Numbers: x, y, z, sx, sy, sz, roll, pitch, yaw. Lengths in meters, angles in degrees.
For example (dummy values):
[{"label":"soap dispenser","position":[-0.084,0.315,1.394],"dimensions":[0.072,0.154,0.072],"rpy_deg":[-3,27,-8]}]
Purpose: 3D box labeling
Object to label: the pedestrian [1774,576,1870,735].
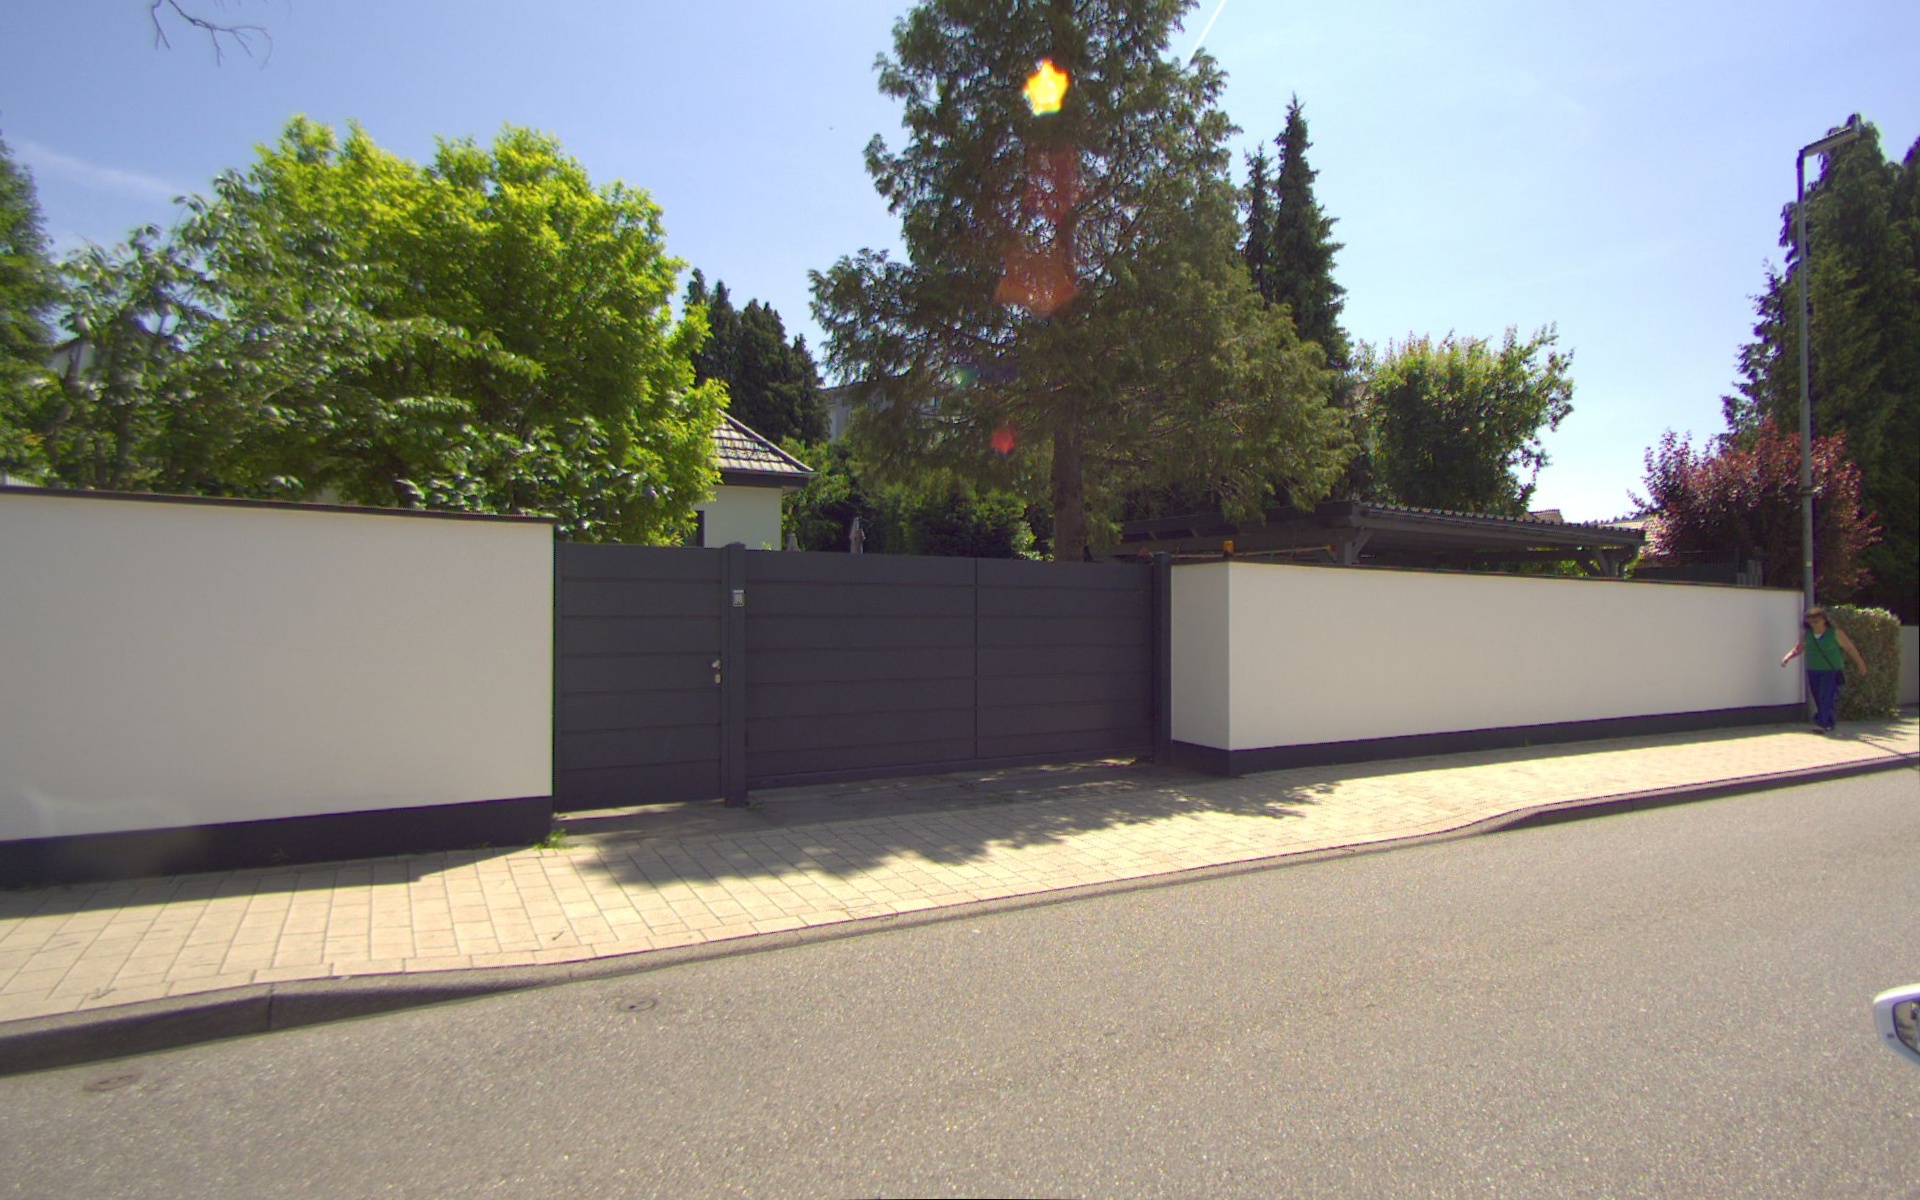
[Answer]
[{"label":"pedestrian","position":[11.495,0.720,13.396],"dimensions":[0.795,2.040,0.717],"rpy_deg":[2,0,-31]}]
